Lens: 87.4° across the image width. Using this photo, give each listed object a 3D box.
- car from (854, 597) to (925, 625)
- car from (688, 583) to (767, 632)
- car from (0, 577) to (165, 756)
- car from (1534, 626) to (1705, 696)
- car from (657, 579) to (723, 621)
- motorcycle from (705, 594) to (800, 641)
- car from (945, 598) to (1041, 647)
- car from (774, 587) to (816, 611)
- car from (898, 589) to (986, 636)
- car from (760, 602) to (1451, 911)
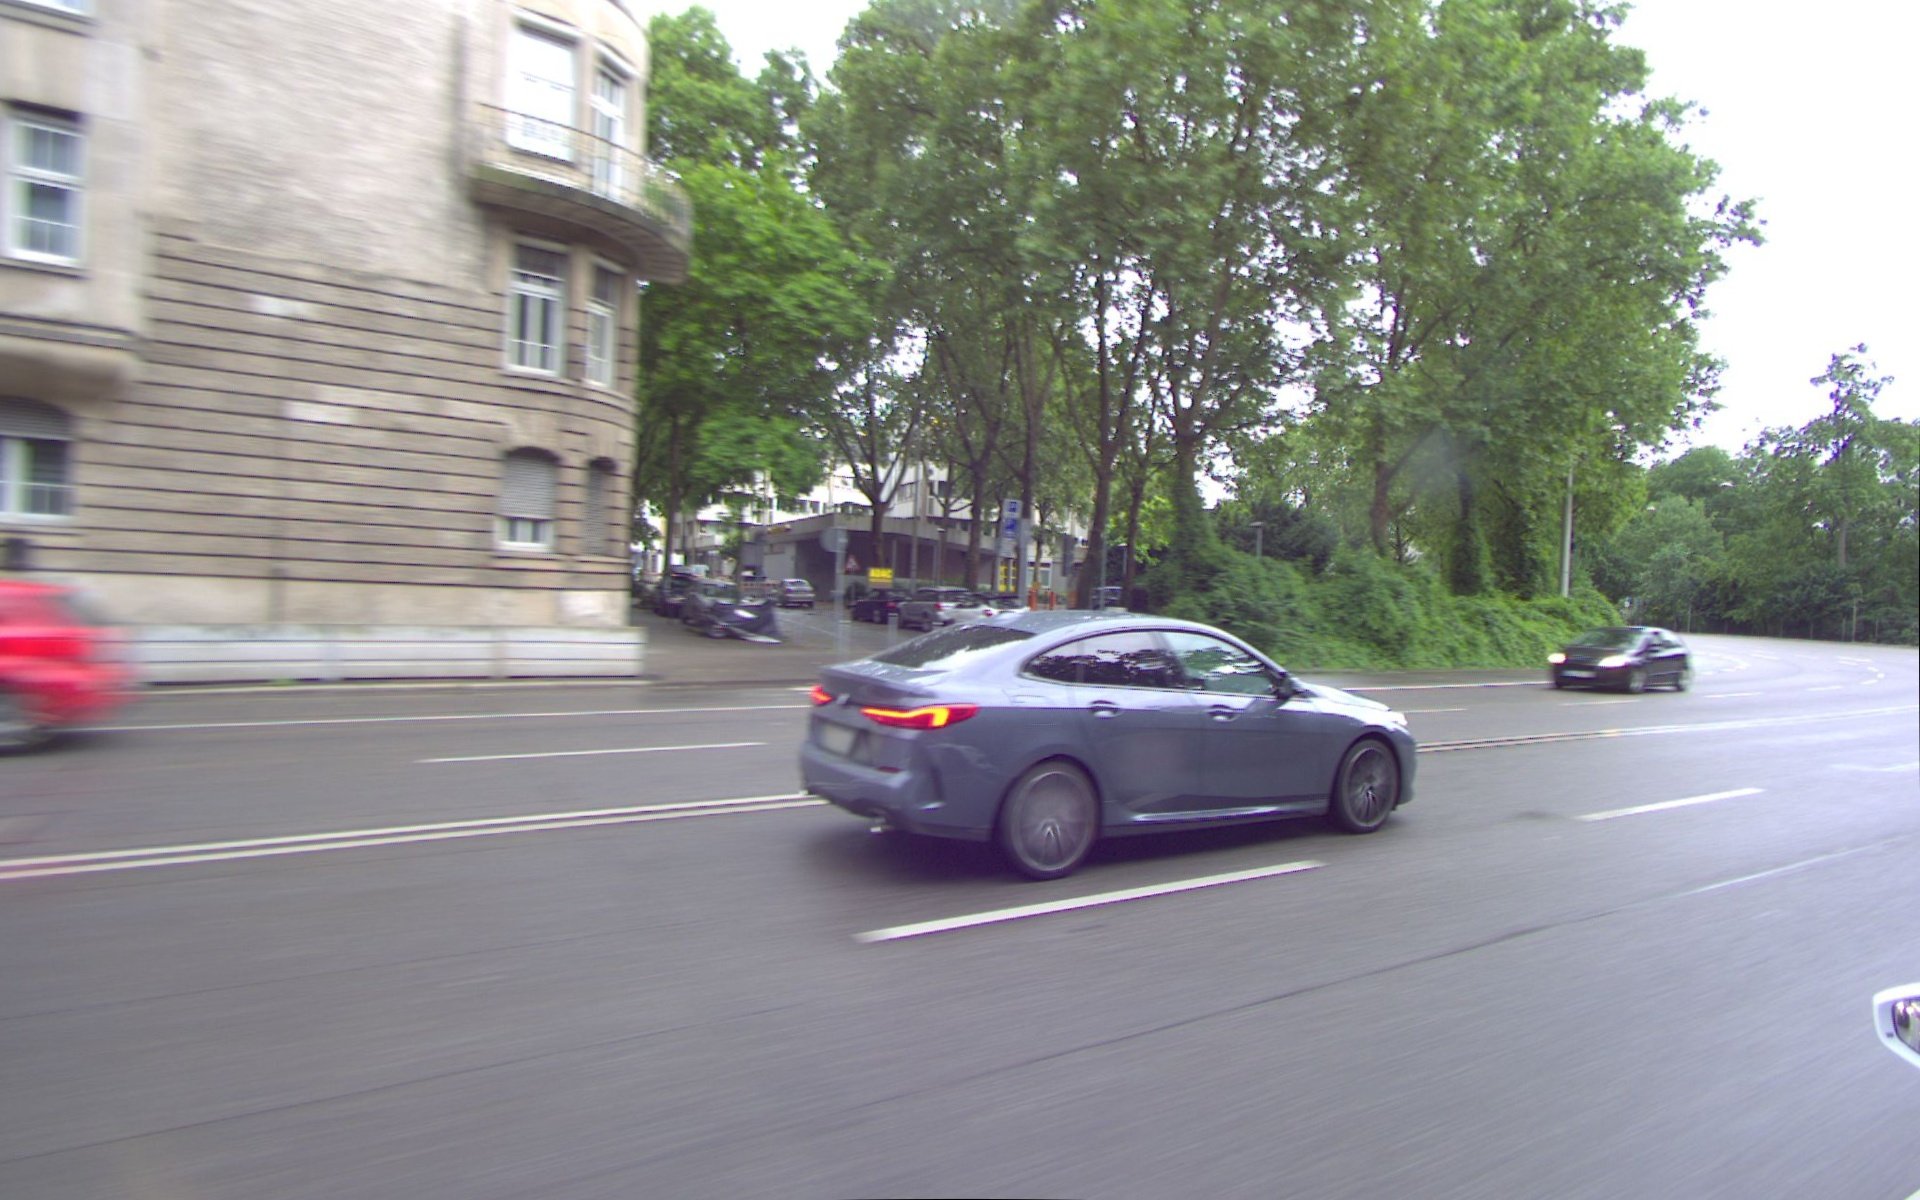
[{"bbox_3d":[-2.813,0.419,39.487,1.753,1.039,3.487,0,0,-22],"label":"car"},{"bbox_3d":[-7.452,0.197,31.878,1.671,1.380,3.975,2,1,-24],"label":"car"},{"bbox_3d":[-9.085,0.500,8.150,3.916,1.433,1.572,1,0,-31],"label":"car"},{"bbox_3d":[14.633,1.311,22.254,3.872,1.357,1.692,1,0,-32],"label":"car"},{"bbox_3d":[-9.926,-0.042,36.739,1.671,1.380,3.975,2,1,-24],"label":"car"},{"bbox_3d":[-5.382,0.468,26.130,2.364,1.157,0.501,2,1,-29],"label":"motorcycle"},{"bbox_3d":[0.954,0.654,30.731,1.752,1.394,3.489,0,0,-20],"label":"car"},{"bbox_3d":[-8.692,-0.070,52.744,1.475,1.223,3.487,0,0,-22],"label":"car"},{"bbox_3d":[-0.681,0.393,34.570,1.753,1.532,3.804,0,0,-22],"label":"car"},{"bbox_3d":[1.117,0.794,6.646,4.488,1.434,1.656,1,1,-31],"label":"car"}]
